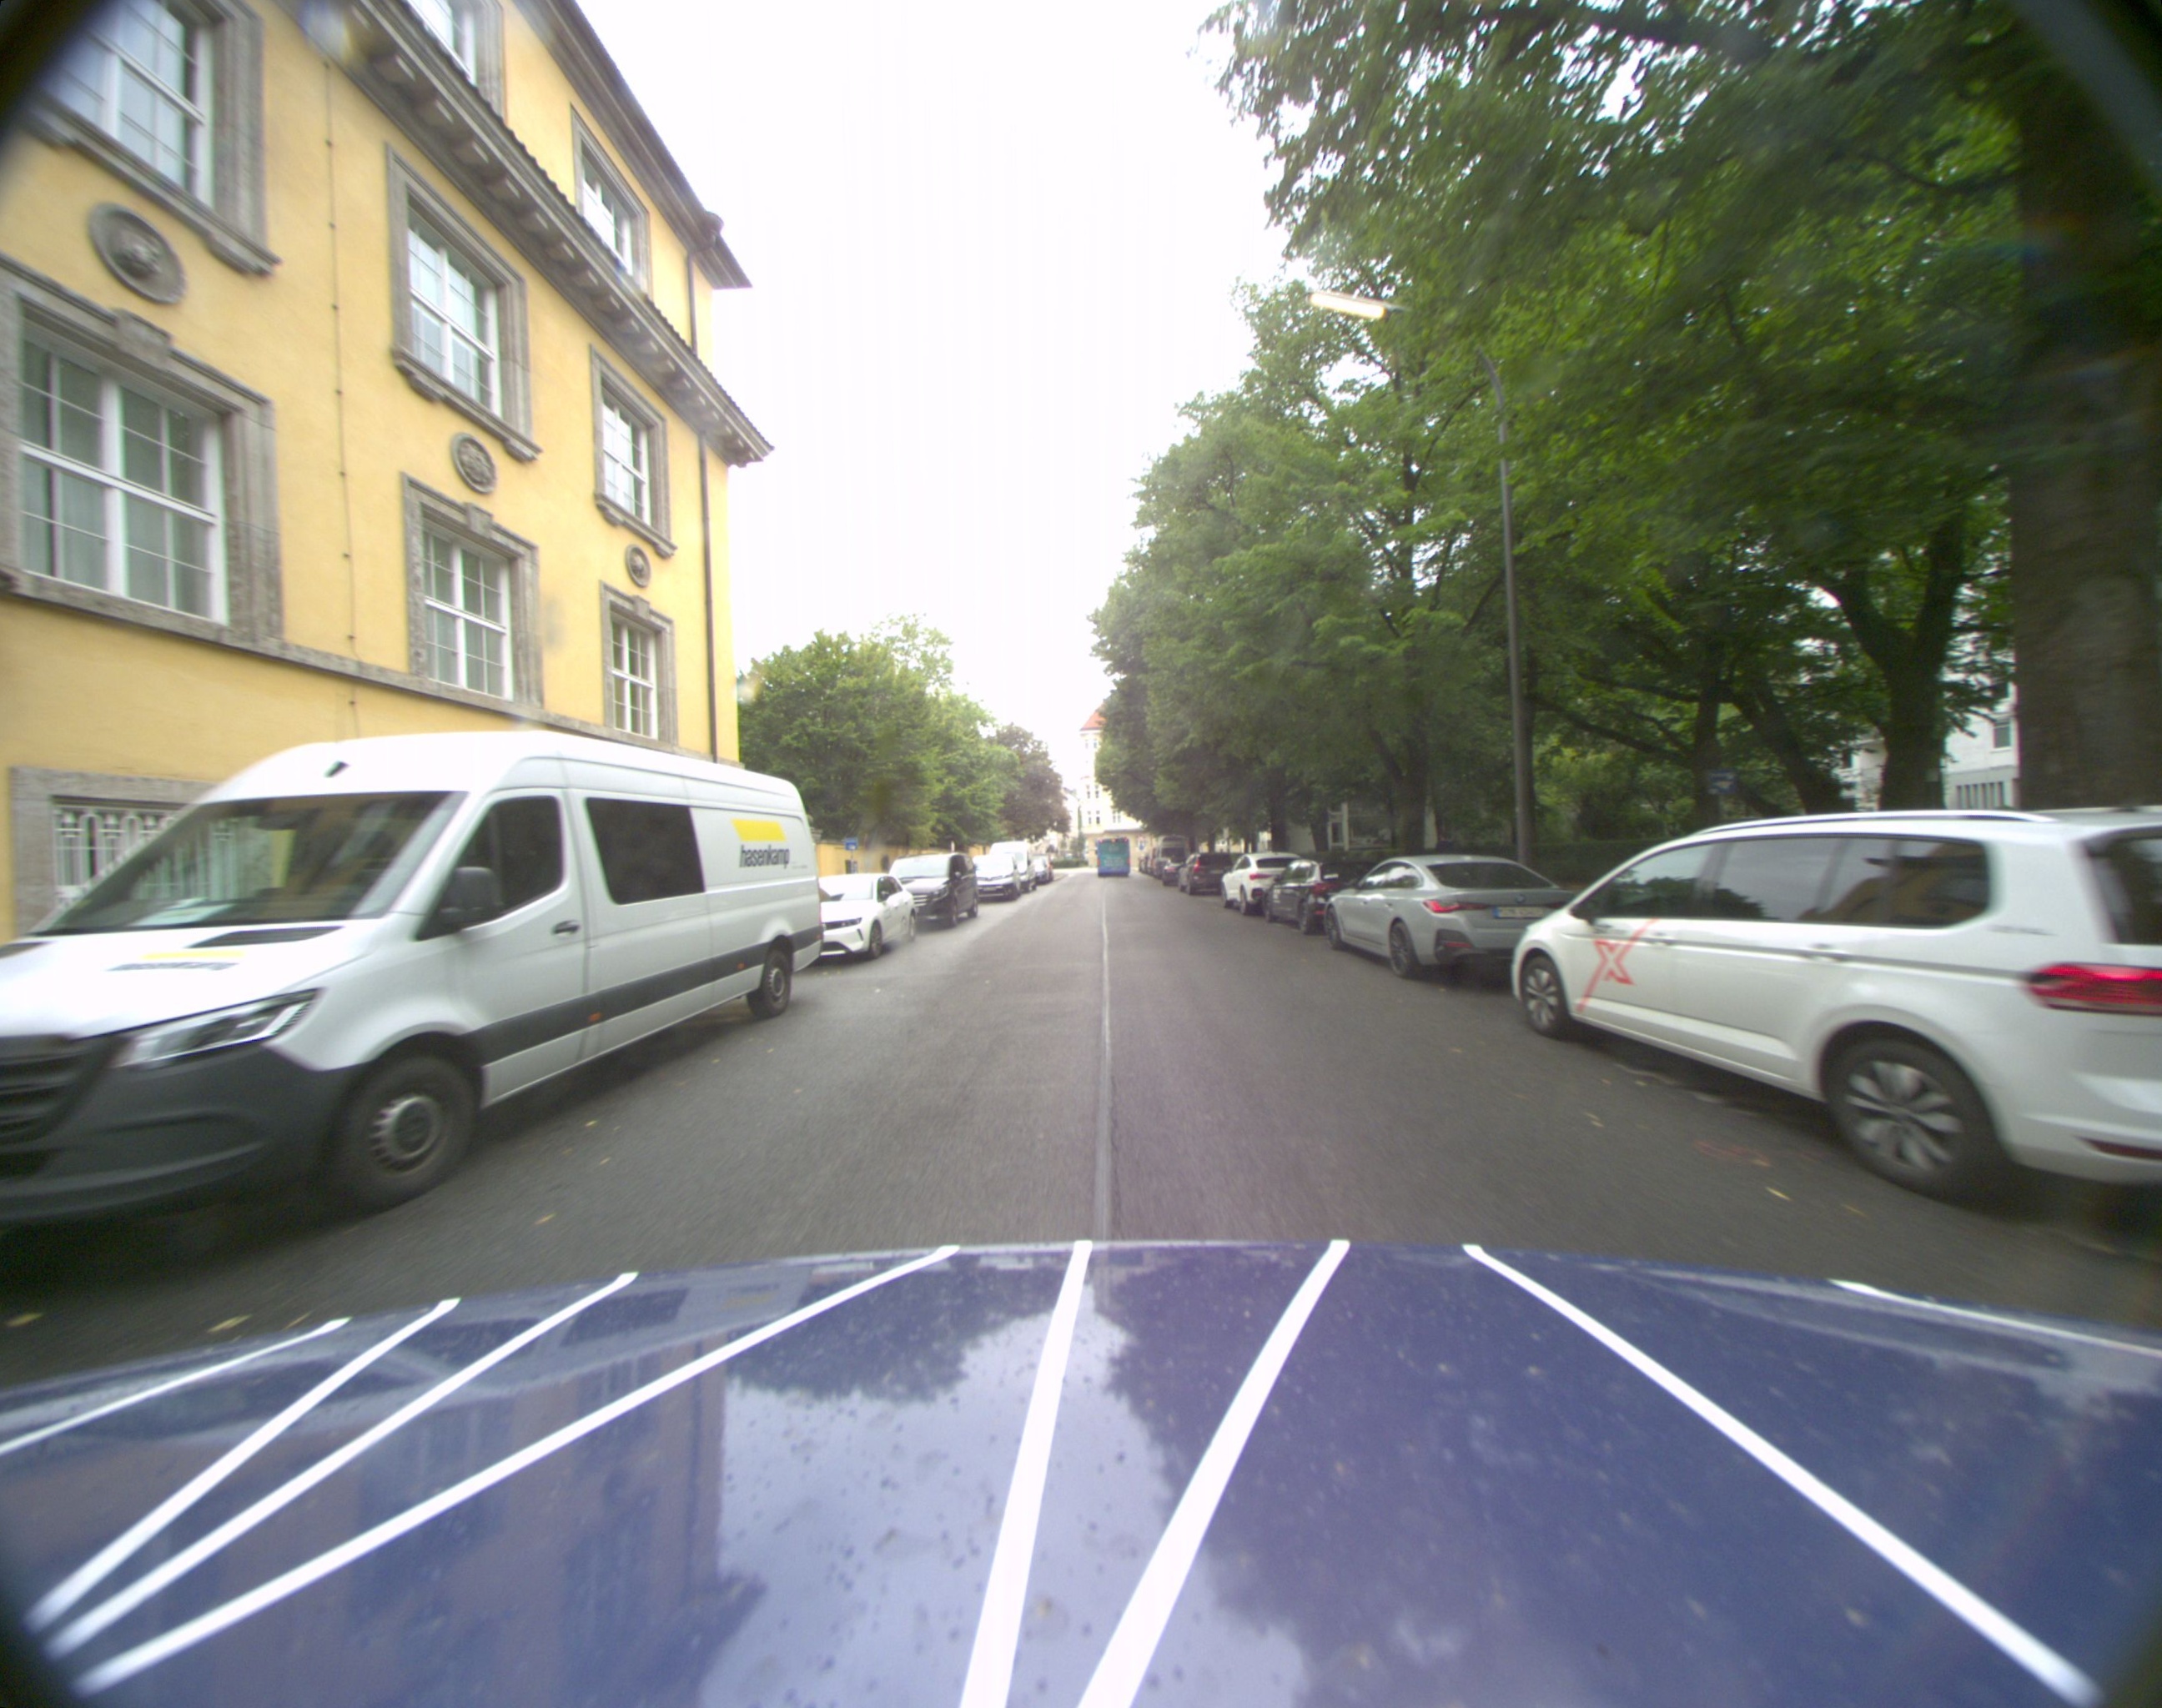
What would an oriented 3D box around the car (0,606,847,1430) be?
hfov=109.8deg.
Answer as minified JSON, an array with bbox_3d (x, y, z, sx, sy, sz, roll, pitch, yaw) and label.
[{"bbox_3d":[-4.215,0.547,6.262,2.059,2.657,7.613,-2,0,0],"label":"car"}]

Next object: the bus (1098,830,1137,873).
[{"bbox_3d":[3.008,-0.376,67.741,2.866,3.220,18.424,-2,1,1],"label":"bus"}]

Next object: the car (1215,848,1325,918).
[{"bbox_3d":[4.923,0.678,20.446,1.788,1.588,4.584,-2,0,0],"label":"car"}]

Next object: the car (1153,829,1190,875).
[{"bbox_3d":[6.100,-0.191,51.766,1.949,2.838,6.236,-2,1,2],"label":"car"}]

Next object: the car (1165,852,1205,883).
[{"bbox_3d":[5.318,0.680,39.396,1.794,1.429,4.553,-2,0,5],"label":"car"}]

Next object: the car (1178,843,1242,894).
[{"bbox_3d":[5.011,0.527,30.141,1.788,1.866,4.548,-1,0,0],"label":"car"}]

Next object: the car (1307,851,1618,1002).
[{"bbox_3d":[4.656,0.745,10.294,1.814,1.461,4.997,-2,0,2],"label":"car"}]

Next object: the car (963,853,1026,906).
[{"bbox_3d":[-3.478,0.952,31.445,2.019,1.895,5.163,-4,0,-1],"label":"car"}]

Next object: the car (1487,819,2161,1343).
[{"bbox_3d":[4.354,0.679,4.454,1.769,1.612,4.523,0,1,4],"label":"car"}]

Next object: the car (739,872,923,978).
[{"bbox_3d":[-4.324,1.161,13.937,1.875,1.449,4.255,-2,0,0],"label":"car"}]

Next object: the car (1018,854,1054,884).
[{"bbox_3d":[-2.845,0.952,49.251,1.863,1.731,4.602,-4,0,1],"label":"car"}]

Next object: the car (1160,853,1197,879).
[{"bbox_3d":[5.792,0.691,45.619,1.794,1.429,4.579,-2,0,3],"label":"car"}]

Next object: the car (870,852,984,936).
[{"bbox_3d":[-3.890,0.927,20.083,1.875,1.858,4.986,-2,0,0],"label":"car"}]

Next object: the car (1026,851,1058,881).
[{"bbox_3d":[-2.765,0.816,54.419,1.863,1.956,5.445,-2,0,1],"label":"car"}]

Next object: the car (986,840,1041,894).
[{"bbox_3d":[-3.312,0.564,38.576,2.100,2.473,5.739,-2,1,1],"label":"car"}]

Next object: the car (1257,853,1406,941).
[{"bbox_3d":[4.911,0.757,15.504,1.676,1.461,4.103,-2,0,0],"label":"car"}]
